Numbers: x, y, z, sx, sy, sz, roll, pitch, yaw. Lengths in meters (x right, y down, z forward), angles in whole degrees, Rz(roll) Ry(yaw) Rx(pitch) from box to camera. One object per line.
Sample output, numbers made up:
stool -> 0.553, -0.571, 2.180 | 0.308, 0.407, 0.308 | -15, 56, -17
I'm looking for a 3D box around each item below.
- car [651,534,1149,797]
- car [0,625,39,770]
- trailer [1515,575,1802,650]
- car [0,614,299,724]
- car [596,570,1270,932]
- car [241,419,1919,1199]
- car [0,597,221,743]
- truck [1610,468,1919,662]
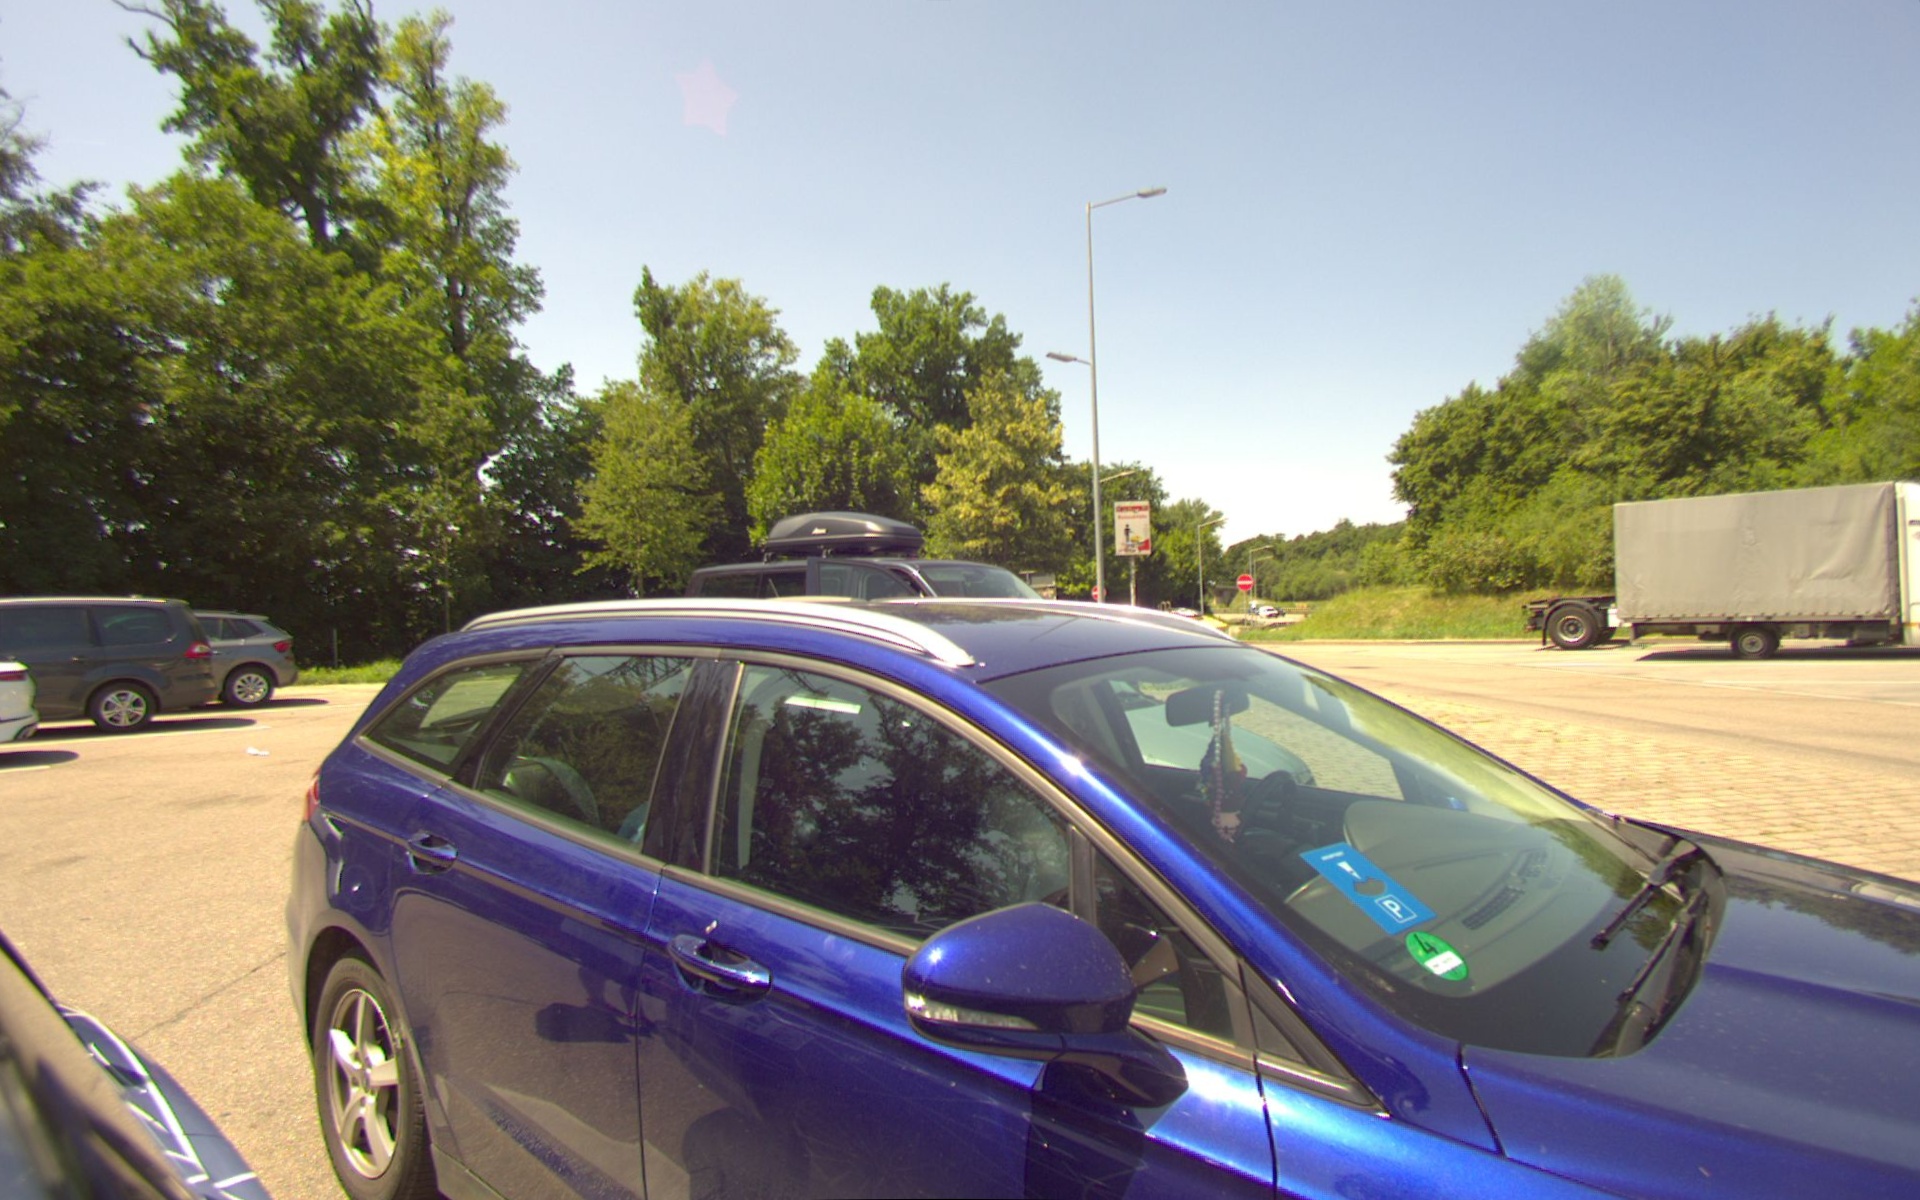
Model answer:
car -> -0.722, 0.532, 9.416 | 4.426, 1.875, 2.022 | -2, -1, 40
car -> -10.949, 0.943, 9.196 | 3.753, 1.377, 1.804 | 0, -1, -45
trailer -> 16.339, 0.345, 23.920 | 5.393, 1.608, 1.576 | -2, -1, 41
car -> -12.587, 0.972, 15.610 | 3.753, 1.488, 1.743 | 0, -1, -45
car -> -0.354, 0.648, 5.805 | 3.739, 1.424, 1.587 | -2, -1, 40
car -> 0.251, 0.649, 2.084 | 4.426, 1.455, 1.763 | -2, -1, 40
car -> -11.704, 0.835, 12.584 | 3.830, 1.703, 1.883 | 0, -2, -45
truck -> 16.719, -0.620, 18.847 | 7.308, 3.258, 2.294 | -5, -2, 43
